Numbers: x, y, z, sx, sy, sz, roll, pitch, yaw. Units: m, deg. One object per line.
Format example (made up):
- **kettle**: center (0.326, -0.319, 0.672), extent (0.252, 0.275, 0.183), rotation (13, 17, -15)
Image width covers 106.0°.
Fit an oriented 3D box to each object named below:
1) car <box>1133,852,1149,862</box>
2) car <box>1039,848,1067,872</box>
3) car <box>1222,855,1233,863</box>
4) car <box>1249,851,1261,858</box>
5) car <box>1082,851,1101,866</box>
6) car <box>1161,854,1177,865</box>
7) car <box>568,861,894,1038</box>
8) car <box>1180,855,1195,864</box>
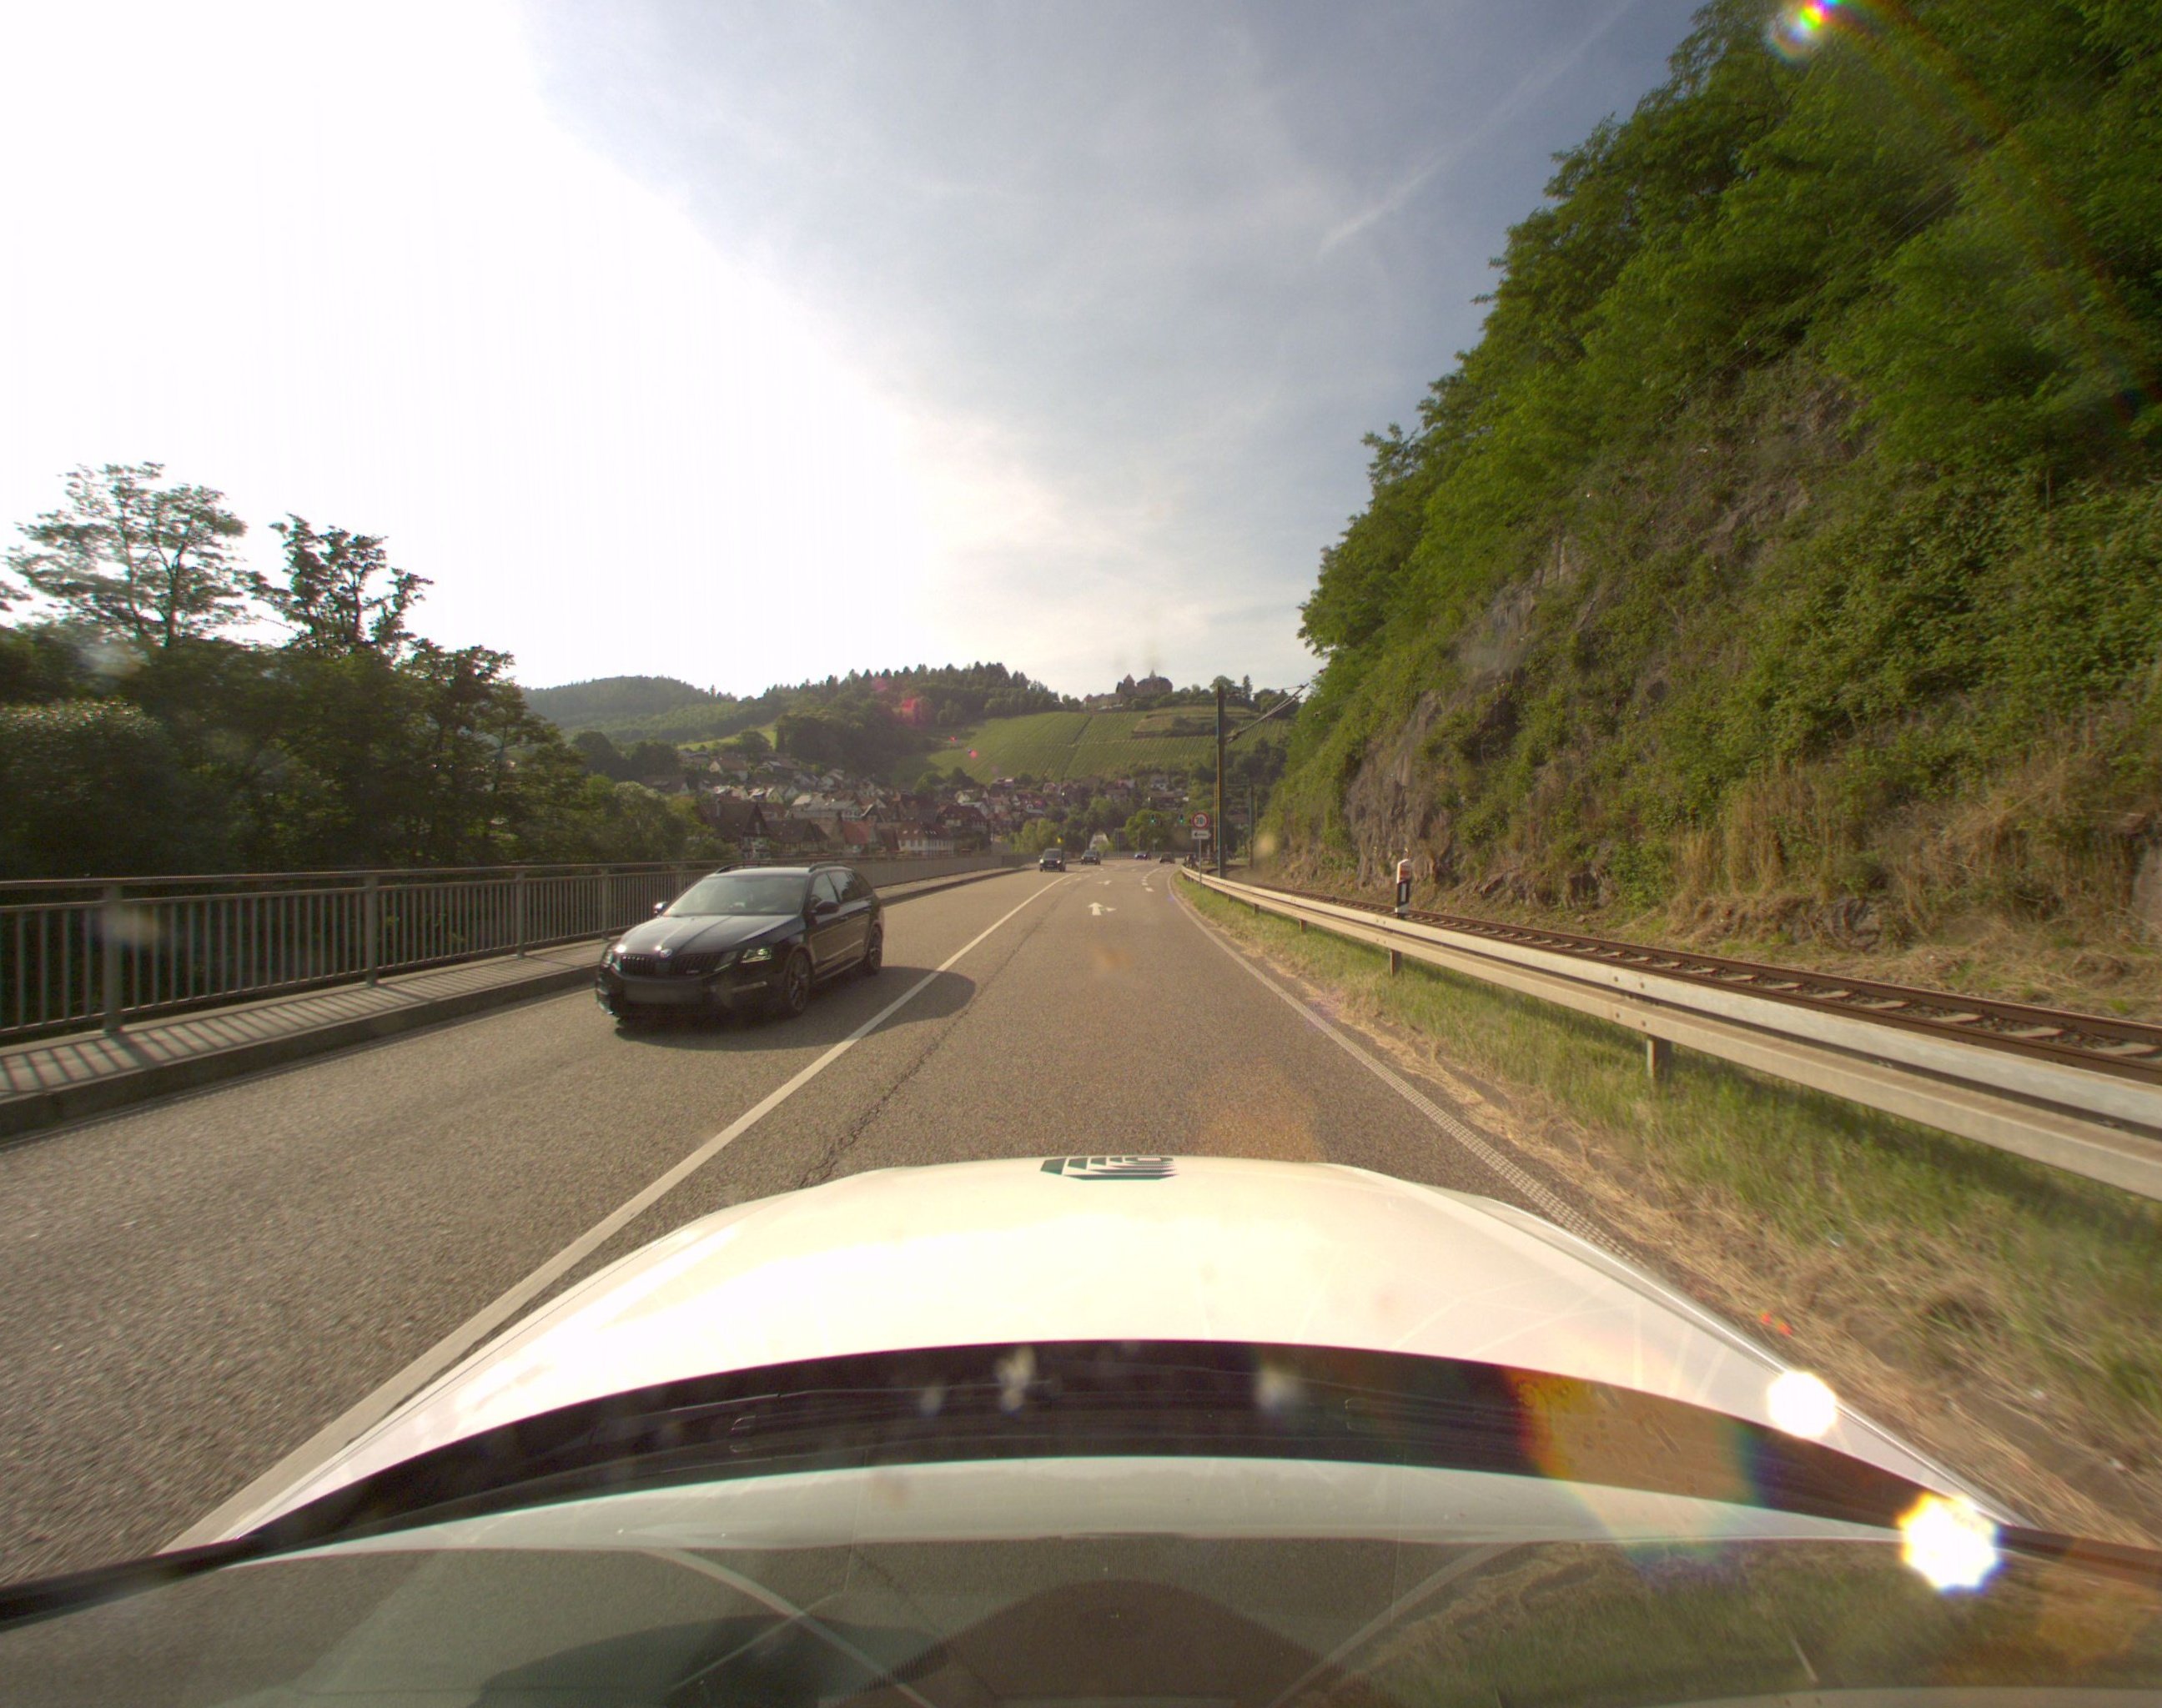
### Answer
- **car**: center (9.746, 0.506, 132.097), extent (1.769, 1.482, 4.543), rotation (1, 0, 15)
- **car**: center (-2.133, 0.432, 63.605), extent (1.784, 1.828, 4.832), rotation (0, 0, 3)
- **car**: center (28.770, 1.052, 160.260), extent (1.793, 1.453, 3.661), rotation (-1, -1, 15)
- **car**: center (38.655, 0.111, 181.259), extent (1.792, 1.408, 3.795), rotation (-1, -1, 25)
- **car**: center (1.247, 0.523, 92.699), extent (1.808, 1.646, 4.619), rotation (0, 0, 5)
- **car**: center (12.079, 0.746, 111.562), extent (1.717, 1.457, 3.422), rotation (-1, -1, 12)
- **car**: center (-3.487, 0.837, 9.128), extent (1.714, 1.435, 4.340), rotation (-1, 0, 1)
- **car**: center (17.216, 0.933, 131.461), extent (1.827, 1.459, 3.727), rotation (-1, -1, 14)
